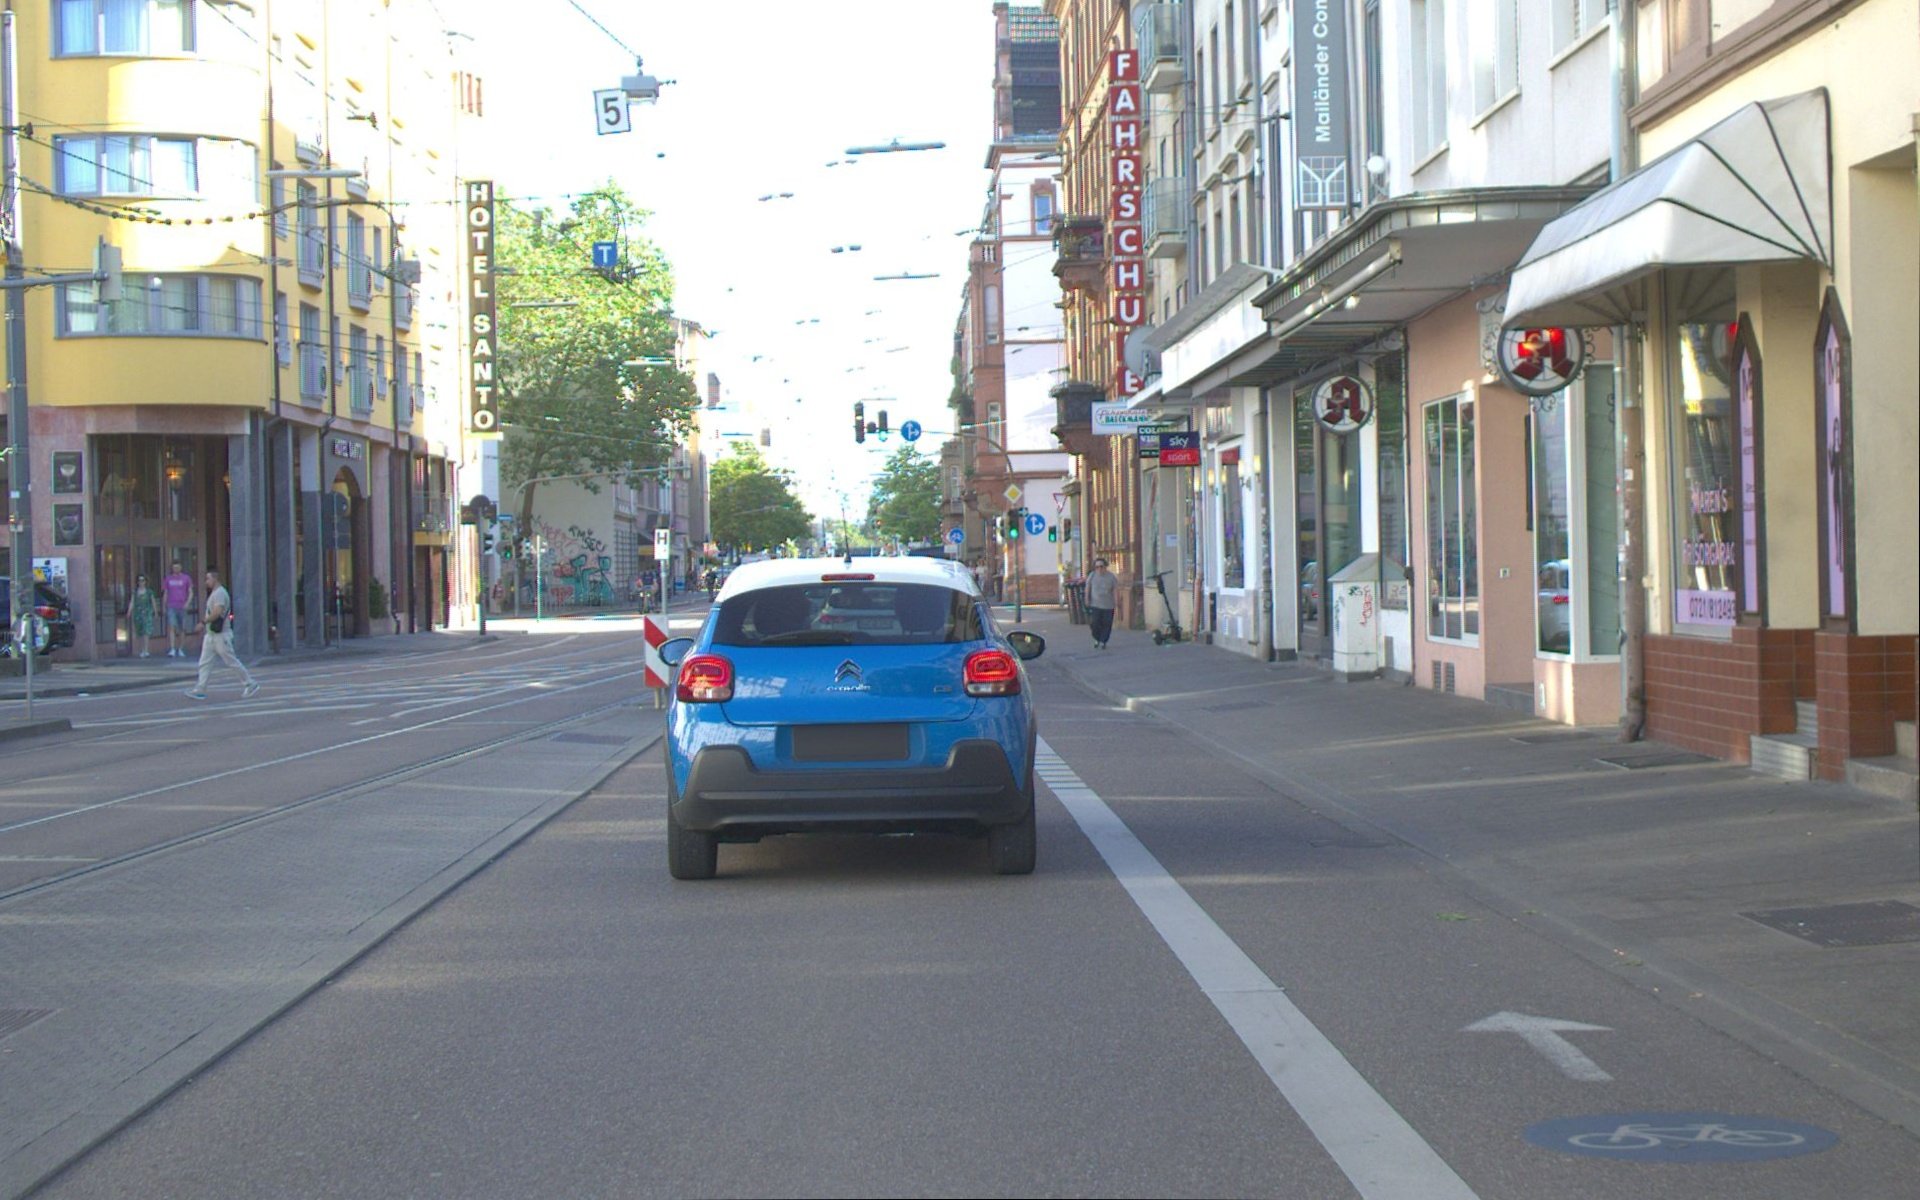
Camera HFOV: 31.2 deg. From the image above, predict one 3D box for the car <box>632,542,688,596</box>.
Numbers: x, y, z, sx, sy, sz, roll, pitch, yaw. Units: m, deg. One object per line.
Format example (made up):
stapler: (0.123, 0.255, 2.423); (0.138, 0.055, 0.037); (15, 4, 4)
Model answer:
car: (-11.730, -1.198, 134.567); (1.993, 2.007, 4.000); (0, 0, -3)

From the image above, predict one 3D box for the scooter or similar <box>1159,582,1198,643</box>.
scooter or similar: (3.553, 0.192, 56.011); (0.512, 0.956, 1.851); (-1, 1, 0)

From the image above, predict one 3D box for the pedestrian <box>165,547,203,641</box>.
pedestrian: (-15.436, -0.129, 68.400); (0.695, 1.851, 0.841); (-1, 1, -13)

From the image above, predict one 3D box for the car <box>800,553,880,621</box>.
car: (-3.072, -0.316, 88.940); (1.993, 1.737, 4.000); (0, 0, -1)

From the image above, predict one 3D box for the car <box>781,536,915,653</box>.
car: (-1.686, -0.069, 52.899); (1.993, 1.737, 4.000); (0, 0, -1)

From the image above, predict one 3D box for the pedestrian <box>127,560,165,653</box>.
pedestrian: (-16.175, 0.132, 68.348); (0.695, 1.823, 0.841); (-1, 1, -13)

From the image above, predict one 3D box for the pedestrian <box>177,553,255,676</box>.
pedestrian: (-10.194, 0.197, 47.087); (0.838, 1.648, 0.697); (-2, 1, -29)

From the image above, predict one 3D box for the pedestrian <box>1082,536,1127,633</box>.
pedestrian: (2.467, -0.272, 58.877); (0.693, 1.645, 0.680); (-1, 1, -2)

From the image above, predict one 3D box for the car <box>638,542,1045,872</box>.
car: (-0.545, 0.448, 16.884); (1.781, 1.446, 3.654); (0, 1, -1)

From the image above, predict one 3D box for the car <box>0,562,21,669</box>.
car: (-18.625, 0.308, 60.000); (3.986, 1.841, 1.958); (-1, 1, -4)
